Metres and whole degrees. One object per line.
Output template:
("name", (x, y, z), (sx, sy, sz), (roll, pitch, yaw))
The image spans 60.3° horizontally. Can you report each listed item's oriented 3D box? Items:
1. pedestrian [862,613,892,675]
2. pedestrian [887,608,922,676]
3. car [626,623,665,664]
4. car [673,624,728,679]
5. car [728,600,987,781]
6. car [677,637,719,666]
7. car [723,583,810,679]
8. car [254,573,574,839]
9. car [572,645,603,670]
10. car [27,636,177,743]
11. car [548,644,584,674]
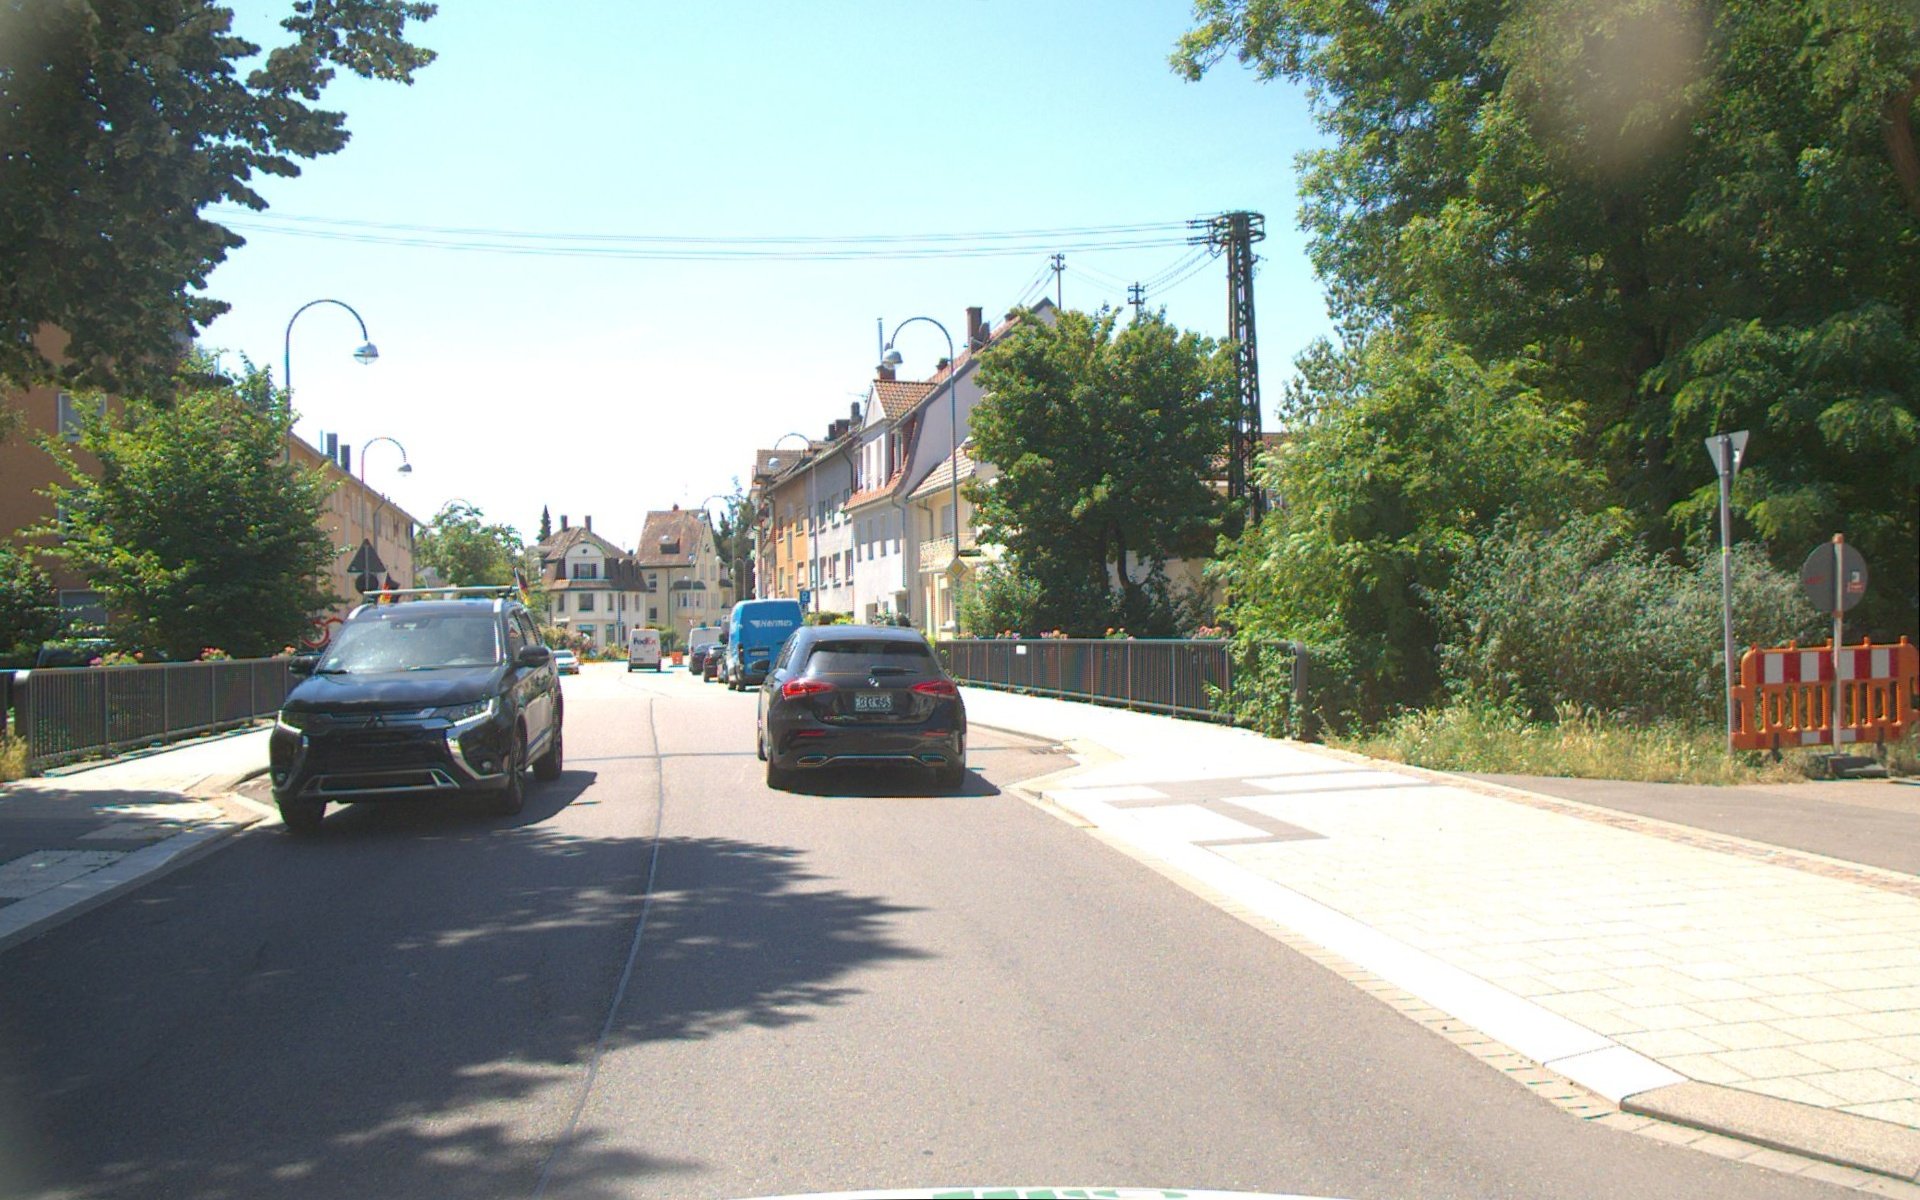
("pedestrian", (-2.216, 1.170, 44.260), (0.604, 1.641, 0.834), (-1, -1, -17))
("pedestrian", (-1.470, 1.097, 43.452), (0.653, 1.772, 0.695), (0, -2, -29))
("car", (-19.256, 2.622, 101.181), (2.205, 2.384, 4.838), (0, 0, -12))
("car", (-10.501, 2.045, 66.818), (1.959, 2.049, 3.987), (-1, 0, -12))
("car", (-1.123, 0.882, 15.939), (1.797, 1.467, 3.985), (-1, -3, -14))
("car", (-13.928, 2.722, 87.775), (1.959, 1.416, 4.315), (-1, 0, -12))
("car", (-5.610, 0.890, 47.567), (2.095, 2.586, 4.635), (-1, -1, -11))
("car", (-4.395, 0.769, 13.970), (1.708, 1.803, 4.330), (-3, 0, -8))
("car", (-25.338, 3.905, 112.729), (1.958, 1.689, 3.988), (1, -1, -12))
("car", (-18.448, 1.864, 35.735), (1.960, 2.049, 3.985), (-1, 0, -14))
("car", (-23.524, 3.502, 98.897), (1.958, 1.689, 3.988), (1, -1, -12))
